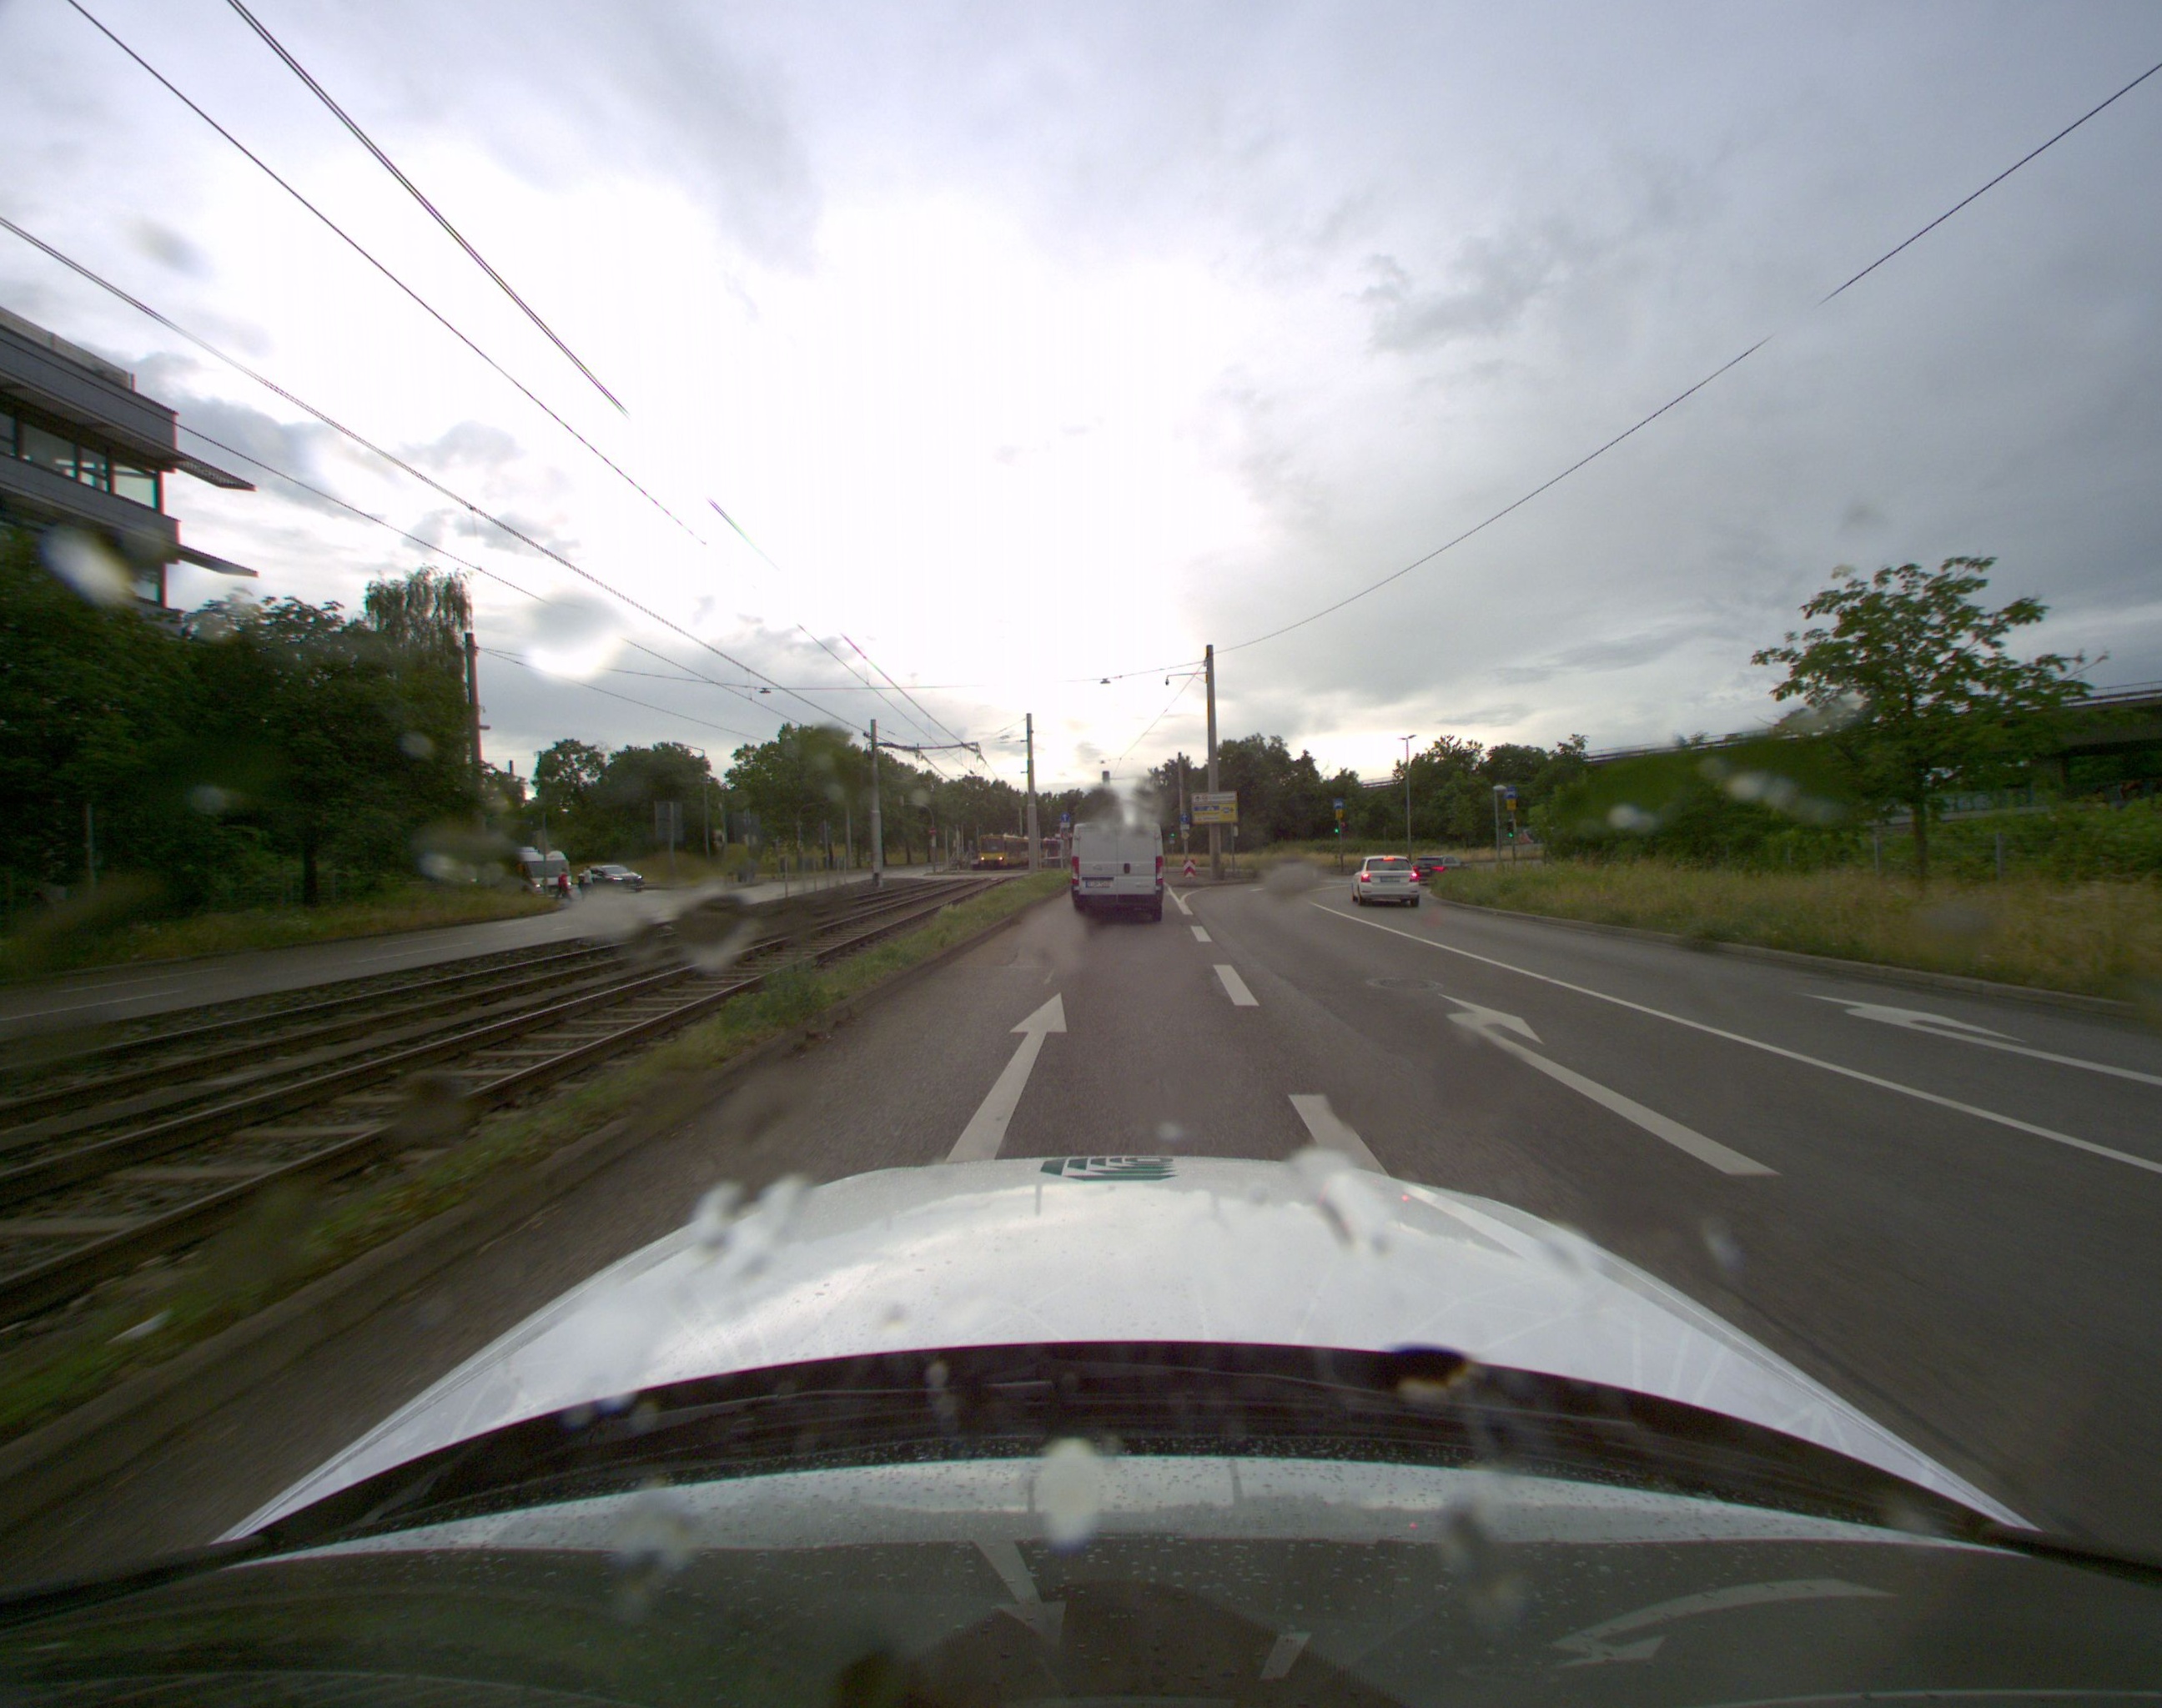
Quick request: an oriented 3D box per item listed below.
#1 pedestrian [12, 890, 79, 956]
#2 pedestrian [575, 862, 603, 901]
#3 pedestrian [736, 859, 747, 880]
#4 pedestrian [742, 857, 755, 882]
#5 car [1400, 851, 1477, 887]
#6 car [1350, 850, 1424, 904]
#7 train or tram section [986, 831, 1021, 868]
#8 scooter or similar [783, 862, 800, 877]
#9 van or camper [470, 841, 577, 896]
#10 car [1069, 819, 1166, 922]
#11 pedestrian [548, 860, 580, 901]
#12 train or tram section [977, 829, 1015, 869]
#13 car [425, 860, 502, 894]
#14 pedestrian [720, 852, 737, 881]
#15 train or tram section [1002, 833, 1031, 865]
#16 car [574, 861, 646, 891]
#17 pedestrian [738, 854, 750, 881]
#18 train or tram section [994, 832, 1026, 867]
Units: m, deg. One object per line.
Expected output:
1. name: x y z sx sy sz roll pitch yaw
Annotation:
1. pedestrian: -28.899 1.901 22.734 0.722 1.755 0.878 0 0 2
2. pedestrian: -24.725 1.372 40.938 0.628 1.867 0.959 -2 0 23
3. pedestrian: -24.877 1.144 59.650 0.494 1.473 0.722 0 0 1
4. pedestrian: -23.474 1.088 57.554 0.504 1.787 0.833 0 0 4
5. car: 17.108 0.695 38.866 4.023 1.535 1.888 -1 -3 -44
6. car: 9.111 0.628 24.514 1.734 1.457 3.686 0 1 15
7. train or tram section: -8.535 -0.527 90.601 2.917 3.932 7.008 0 0 2
8. scooter or similar: -24.213 1.313 68.159 0.375 1.161 1.287 -1 1 45
9. van or camper: -32.590 0.829 47.521 7.279 2.966 2.507 -1 1 34
10. car: 0.777 0.315 20.011 2.084 2.196 5.060 0 1 0
11. pedestrian: -25.878 1.307 40.763 0.879 2.013 0.950 -2 0 23
12. train or tram section: -8.718 -0.495 84.152 2.917 3.932 7.008 0 0 2
13. car: -39.243 1.468 51.747 4.469 2.013 2.012 -1 1 25
14. pedestrian: -25.663 0.903 59.307 0.885 2.013 0.864 -2 0 -5
15. train or tram section: -8.128 -0.588 103.162 2.917 3.932 7.008 0 0 2
16. car: -29.340 1.332 50.688 4.571 1.732 2.013 -1 1 33
17. pedestrian: -23.884 0.955 57.695 0.493 1.955 0.722 0 0 4
18. train or tram section: -8.344 -0.557 96.847 2.917 3.932 7.008 0 0 2
